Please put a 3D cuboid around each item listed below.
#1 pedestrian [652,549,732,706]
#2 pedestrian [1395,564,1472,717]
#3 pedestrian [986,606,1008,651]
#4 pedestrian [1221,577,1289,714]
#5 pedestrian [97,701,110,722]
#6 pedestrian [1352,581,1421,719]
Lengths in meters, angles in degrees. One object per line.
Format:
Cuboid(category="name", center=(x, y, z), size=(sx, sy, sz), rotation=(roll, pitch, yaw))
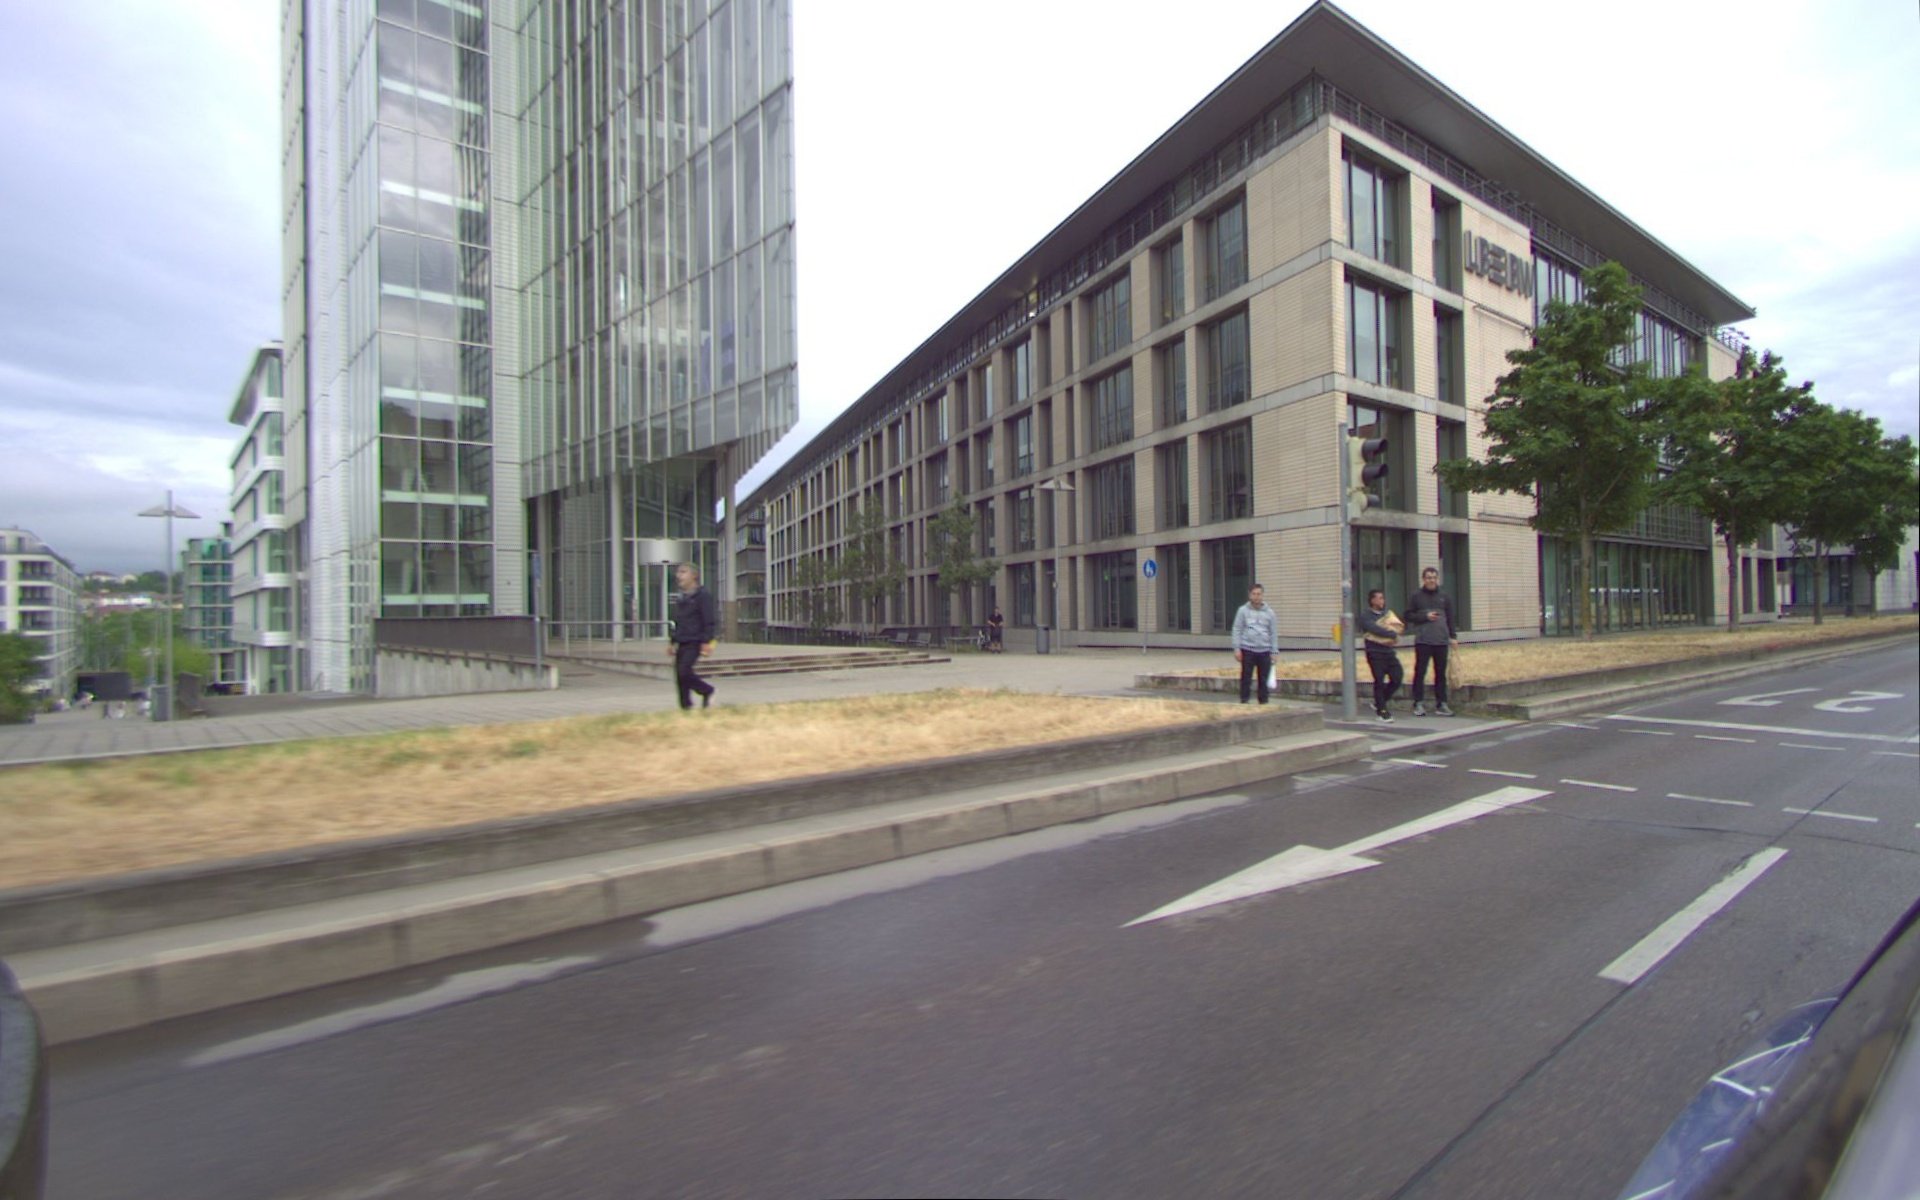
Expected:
Cuboid(category="pedestrian", center=(-2.872, 0.291, 10.866), size=(0.650, 1.632, 0.546), rotation=(-1, -1, 8))
Cuboid(category="pedestrian", center=(5.764, 0.472, 12.356), size=(0.774, 1.793, 0.723), rotation=(-1, 0, 23))
Cuboid(category="pedestrian", center=(1.477, 1.135, 40.363), size=(0.621, 1.767, 0.637), rotation=(-1, 0, -20))
Cuboid(category="pedestrian", center=(3.577, 0.537, 12.295), size=(0.643, 1.619, 0.462), rotation=(-1, 0, -4))
Cuboid(category="pedestrian", center=(-78.900, 10.264, 93.207), size=(0.797, 1.723, 0.788), rotation=(-2, -1, 43))
Cuboid(category="pedestrian", center=(4.913, 0.561, 11.683), size=(0.591, 1.547, 0.541), rotation=(-1, 0, 10))
